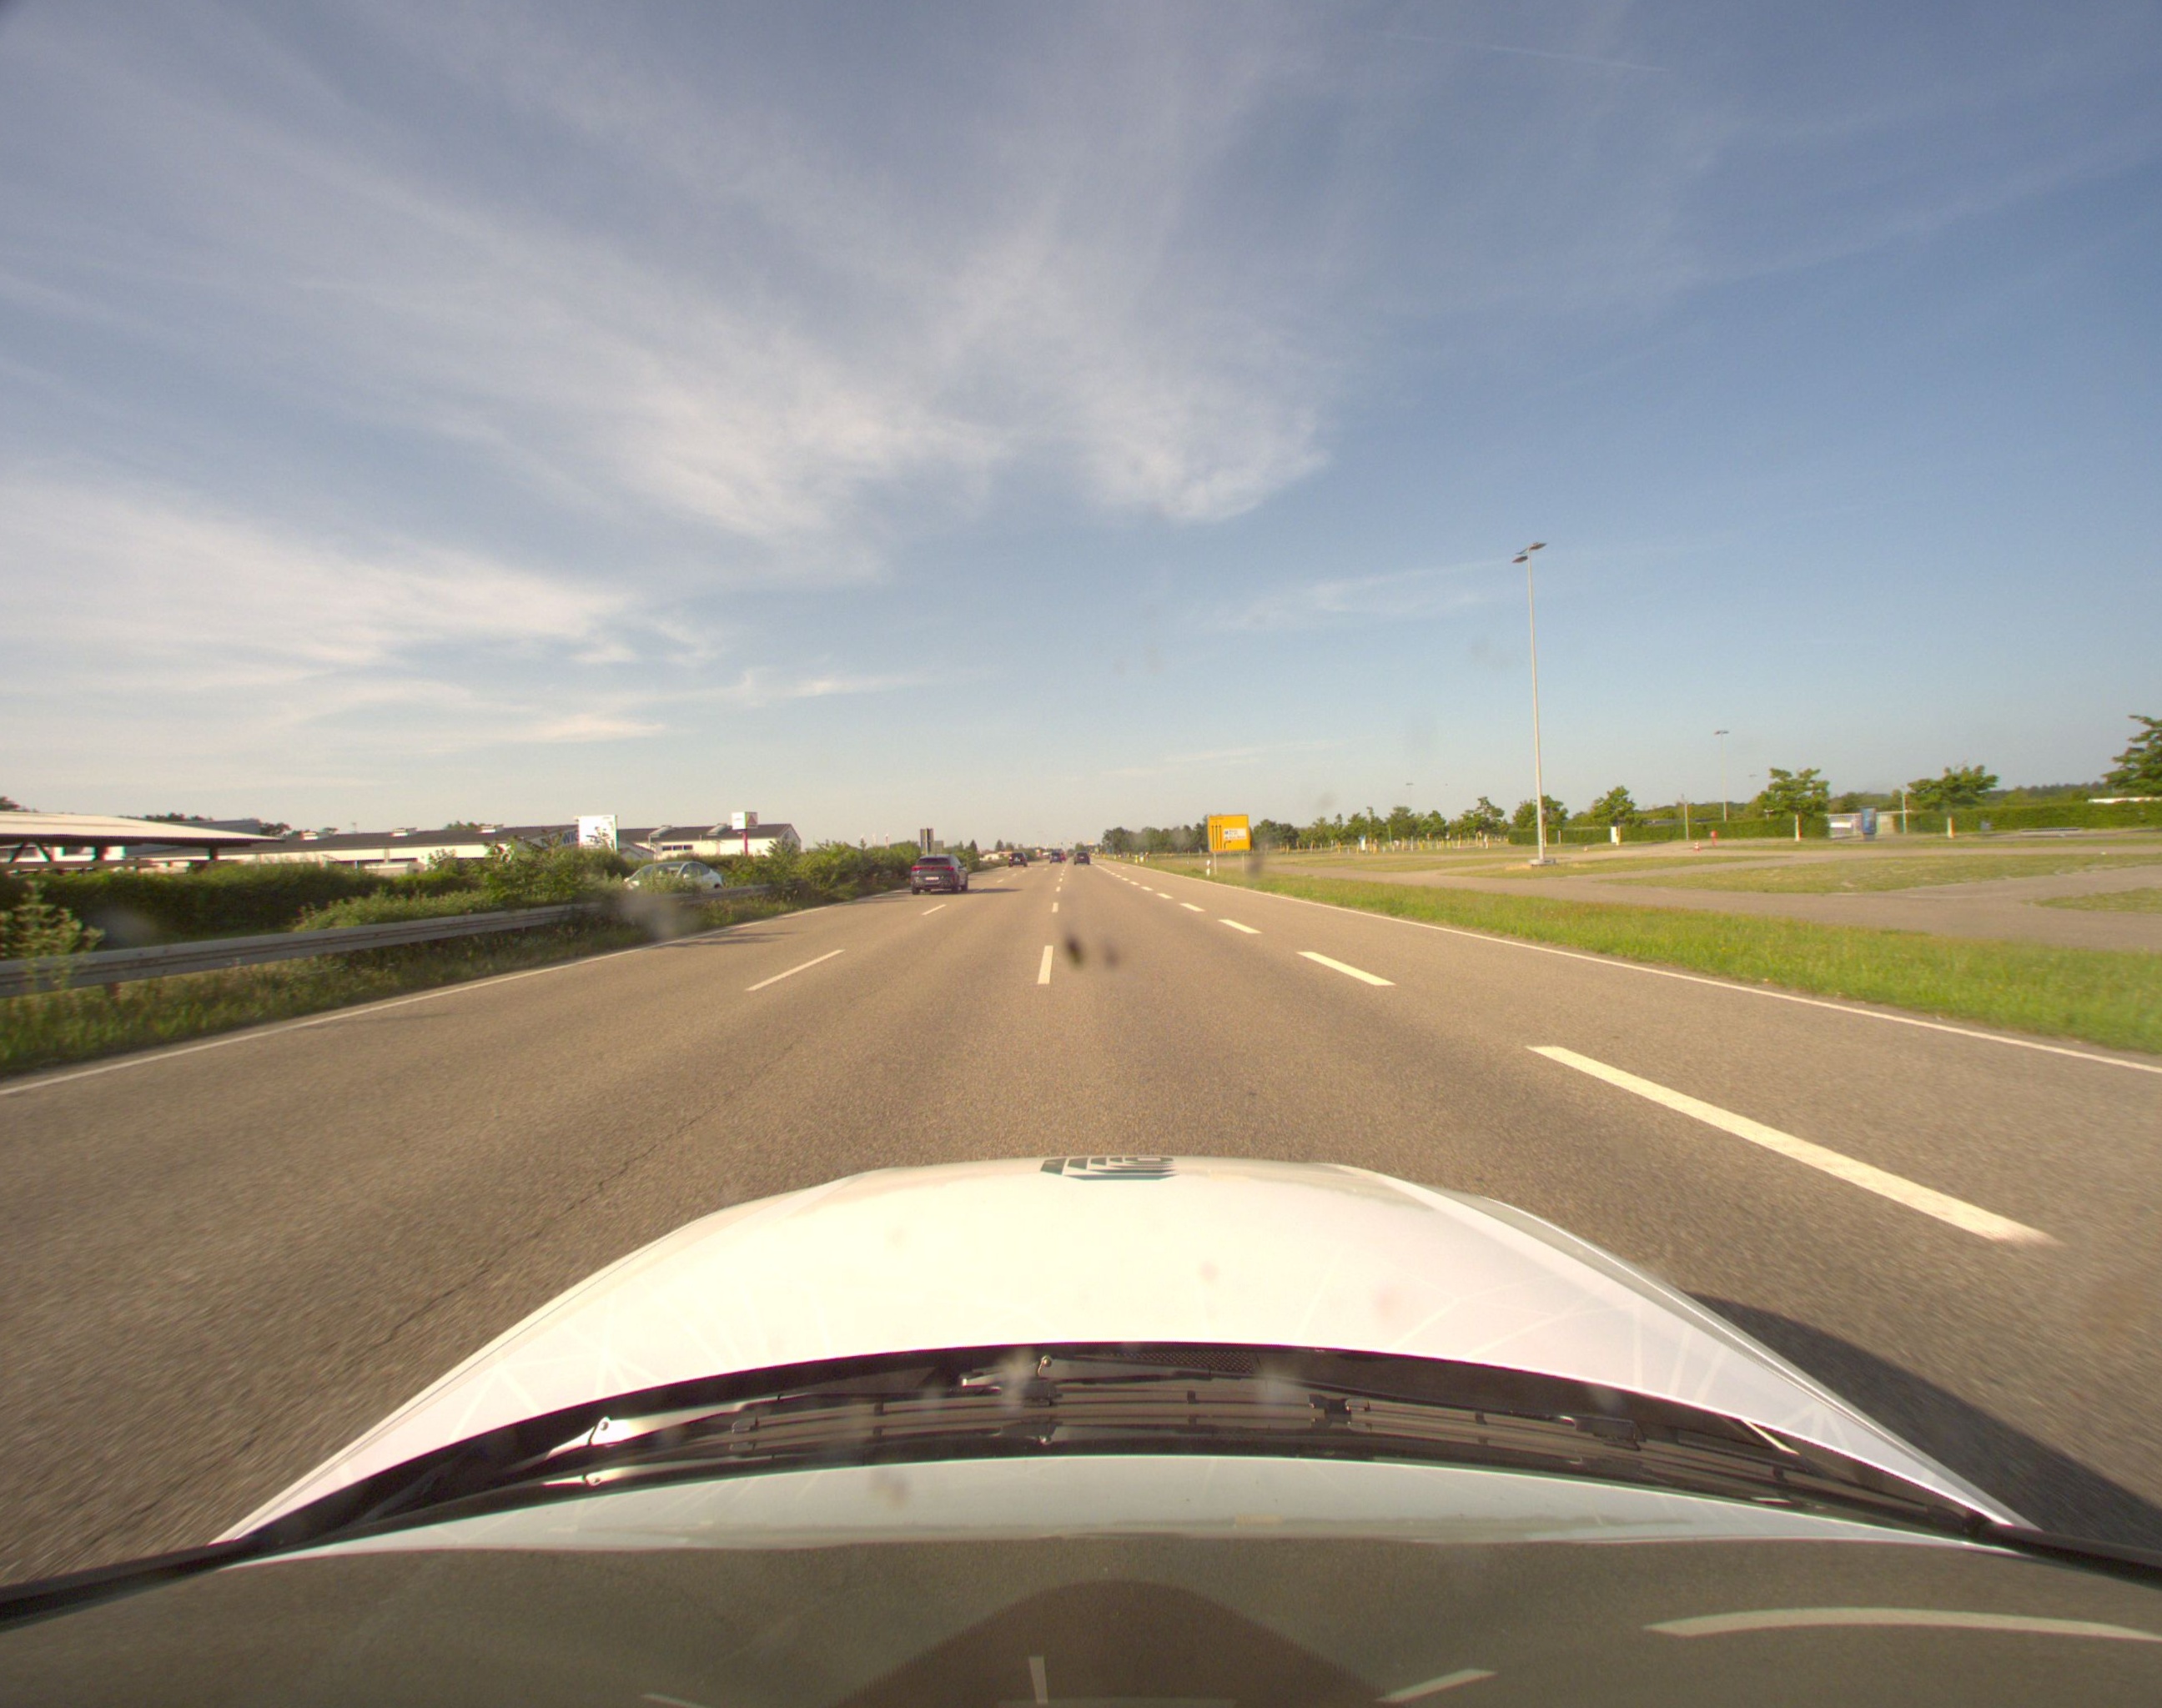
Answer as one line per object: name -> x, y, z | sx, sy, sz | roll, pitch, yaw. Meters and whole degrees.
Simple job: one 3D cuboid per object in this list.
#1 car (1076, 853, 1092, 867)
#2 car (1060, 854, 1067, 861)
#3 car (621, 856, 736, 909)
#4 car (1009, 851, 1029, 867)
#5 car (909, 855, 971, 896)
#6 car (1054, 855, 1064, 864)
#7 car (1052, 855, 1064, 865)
car -> 0.311, 0.718, 101.053 | 1.927, 1.680, 4.399 | 0, 0, -1
car -> -4.334, 0.865, 197.323 | 1.641, 1.728, 3.399 | -1, -1, -1
car -> -13.352, 0.917, 27.319 | 1.923, 1.613, 3.998 | -1, -1, -1
car -> -6.920, 0.544, 91.026 | 1.927, 1.680, 4.399 | 0, 0, -1
car -> -5.759, 0.835, 33.701 | 1.840, 1.612, 4.399 | 0, 0, -1
car -> -3.934, 0.971, 146.841 | 1.642, 1.463, 3.979 | 0, 0, -1
car -> -3.424, 0.891, 121.998 | 1.807, 1.463, 4.399 | 0, 0, -1
